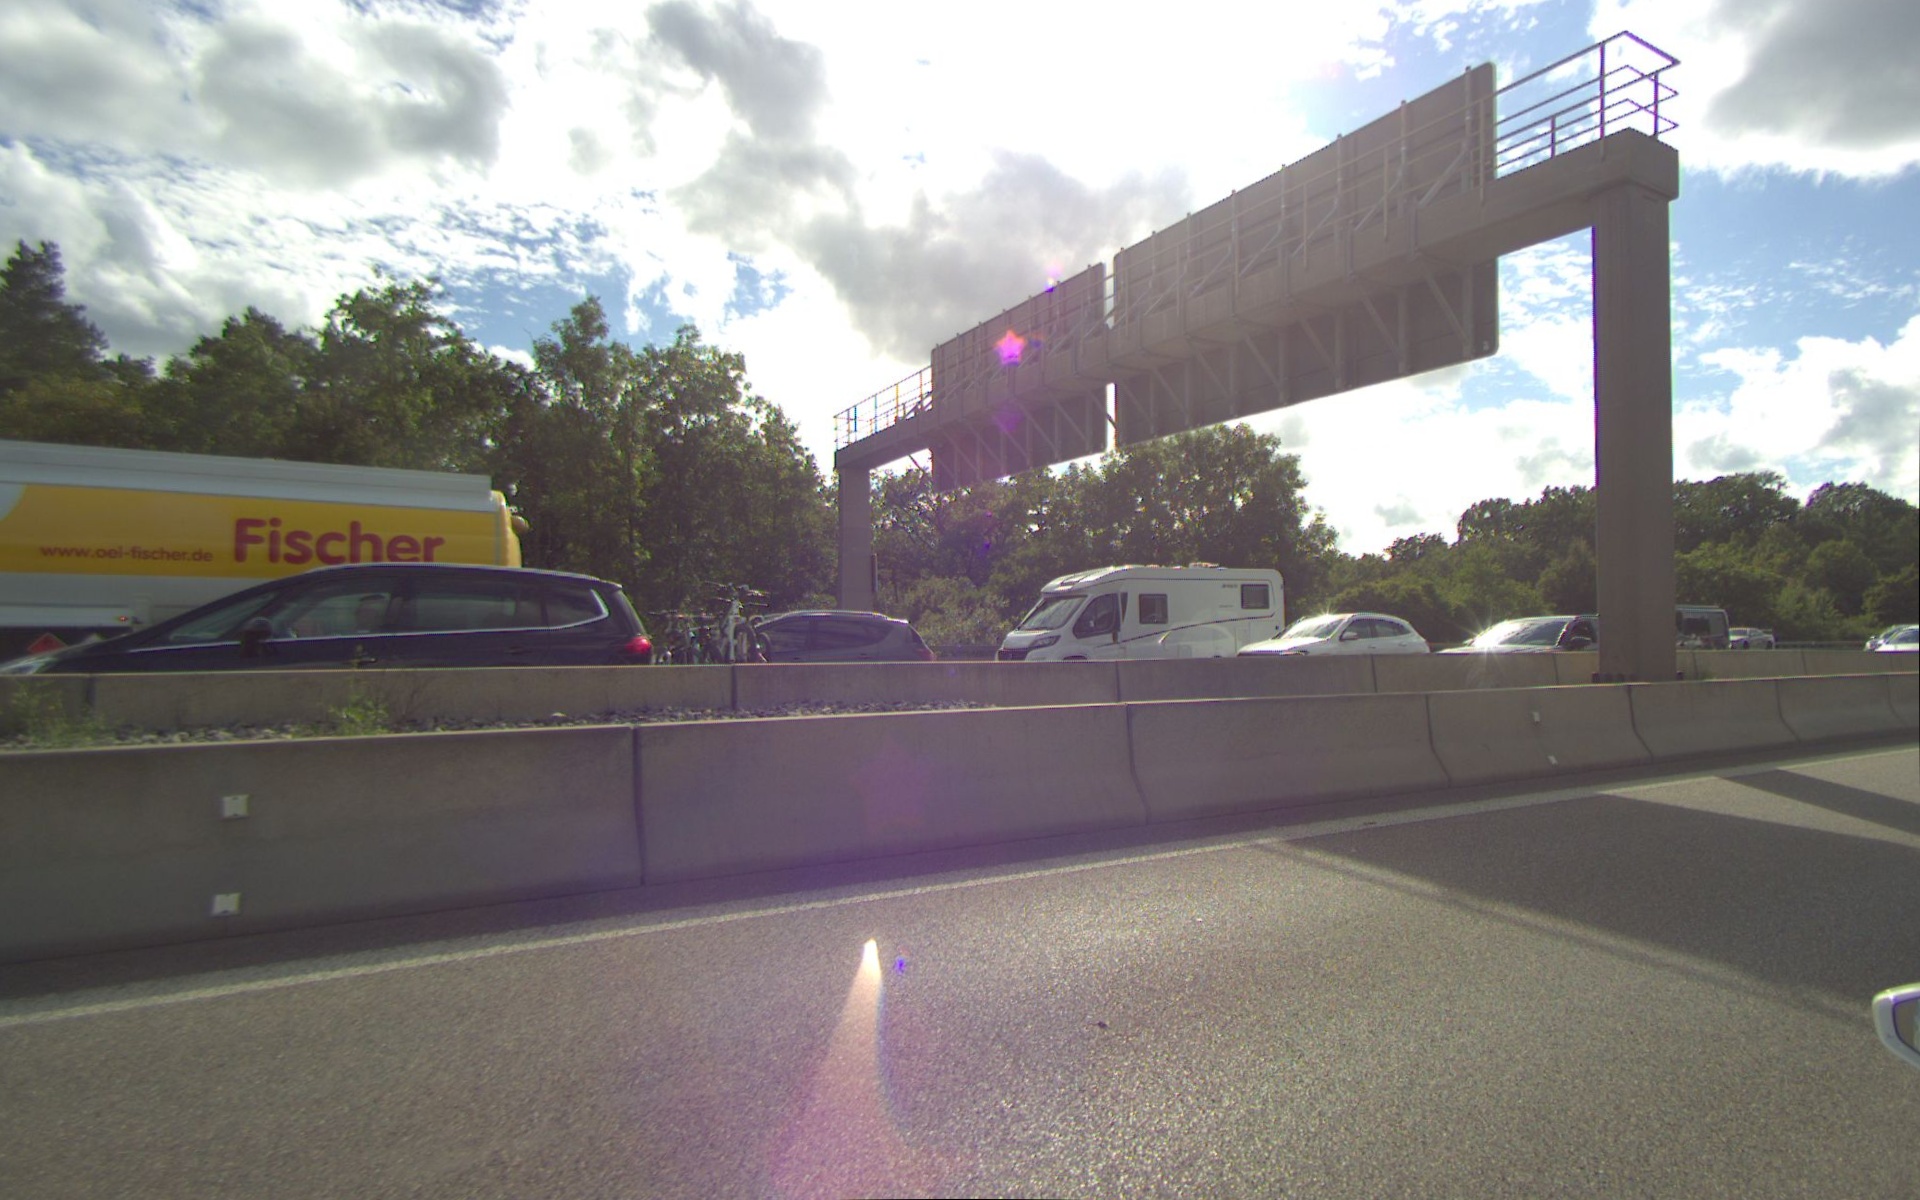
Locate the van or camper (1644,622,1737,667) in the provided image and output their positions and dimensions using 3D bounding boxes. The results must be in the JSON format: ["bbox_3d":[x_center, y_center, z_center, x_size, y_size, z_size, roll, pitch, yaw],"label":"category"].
[{"bbox_3d":[36.443,2.240,50.048,5.016,2.060,1.851,2,-1,-30],"label":"van or camper"}]

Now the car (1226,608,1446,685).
[{"bbox_3d":[7.399,0.878,19.618,4.483,1.341,1.555,1,0,-31],"label":"car"}]

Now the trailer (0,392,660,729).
[{"bbox_3d":[-11.101,-0.447,13.532,13.107,3.879,3.395,1,0,-31],"label":"trailer"}]

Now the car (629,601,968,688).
[{"bbox_3d":[-2.142,0.580,13.757,4.339,1.018,1.532,1,0,-31],"label":"car"}]

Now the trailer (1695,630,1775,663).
[{"bbox_3d":[40.456,2.431,52.427,4.298,1.600,1.817,2,-1,-30],"label":"trailer"}]

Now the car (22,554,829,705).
[{"bbox_3d":[-3.914,0.236,8.350,5.399,0.940,1.659,1,0,-31],"label":"car"}]

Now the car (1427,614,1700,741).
[{"bbox_3d":[10.090,1.198,16.691,4.881,1.822,1.758,1,0,-31],"label":"car"}]

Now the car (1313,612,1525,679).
[{"bbox_3d":[9.696,0.928,21.121,4.514,1.247,1.823,2,0,-31],"label":"car"}]

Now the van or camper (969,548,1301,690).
[{"bbox_3d":[3.946,0.485,21.883,7.310,2.678,2.314,2,-1,-30],"label":"van or camper"}]
